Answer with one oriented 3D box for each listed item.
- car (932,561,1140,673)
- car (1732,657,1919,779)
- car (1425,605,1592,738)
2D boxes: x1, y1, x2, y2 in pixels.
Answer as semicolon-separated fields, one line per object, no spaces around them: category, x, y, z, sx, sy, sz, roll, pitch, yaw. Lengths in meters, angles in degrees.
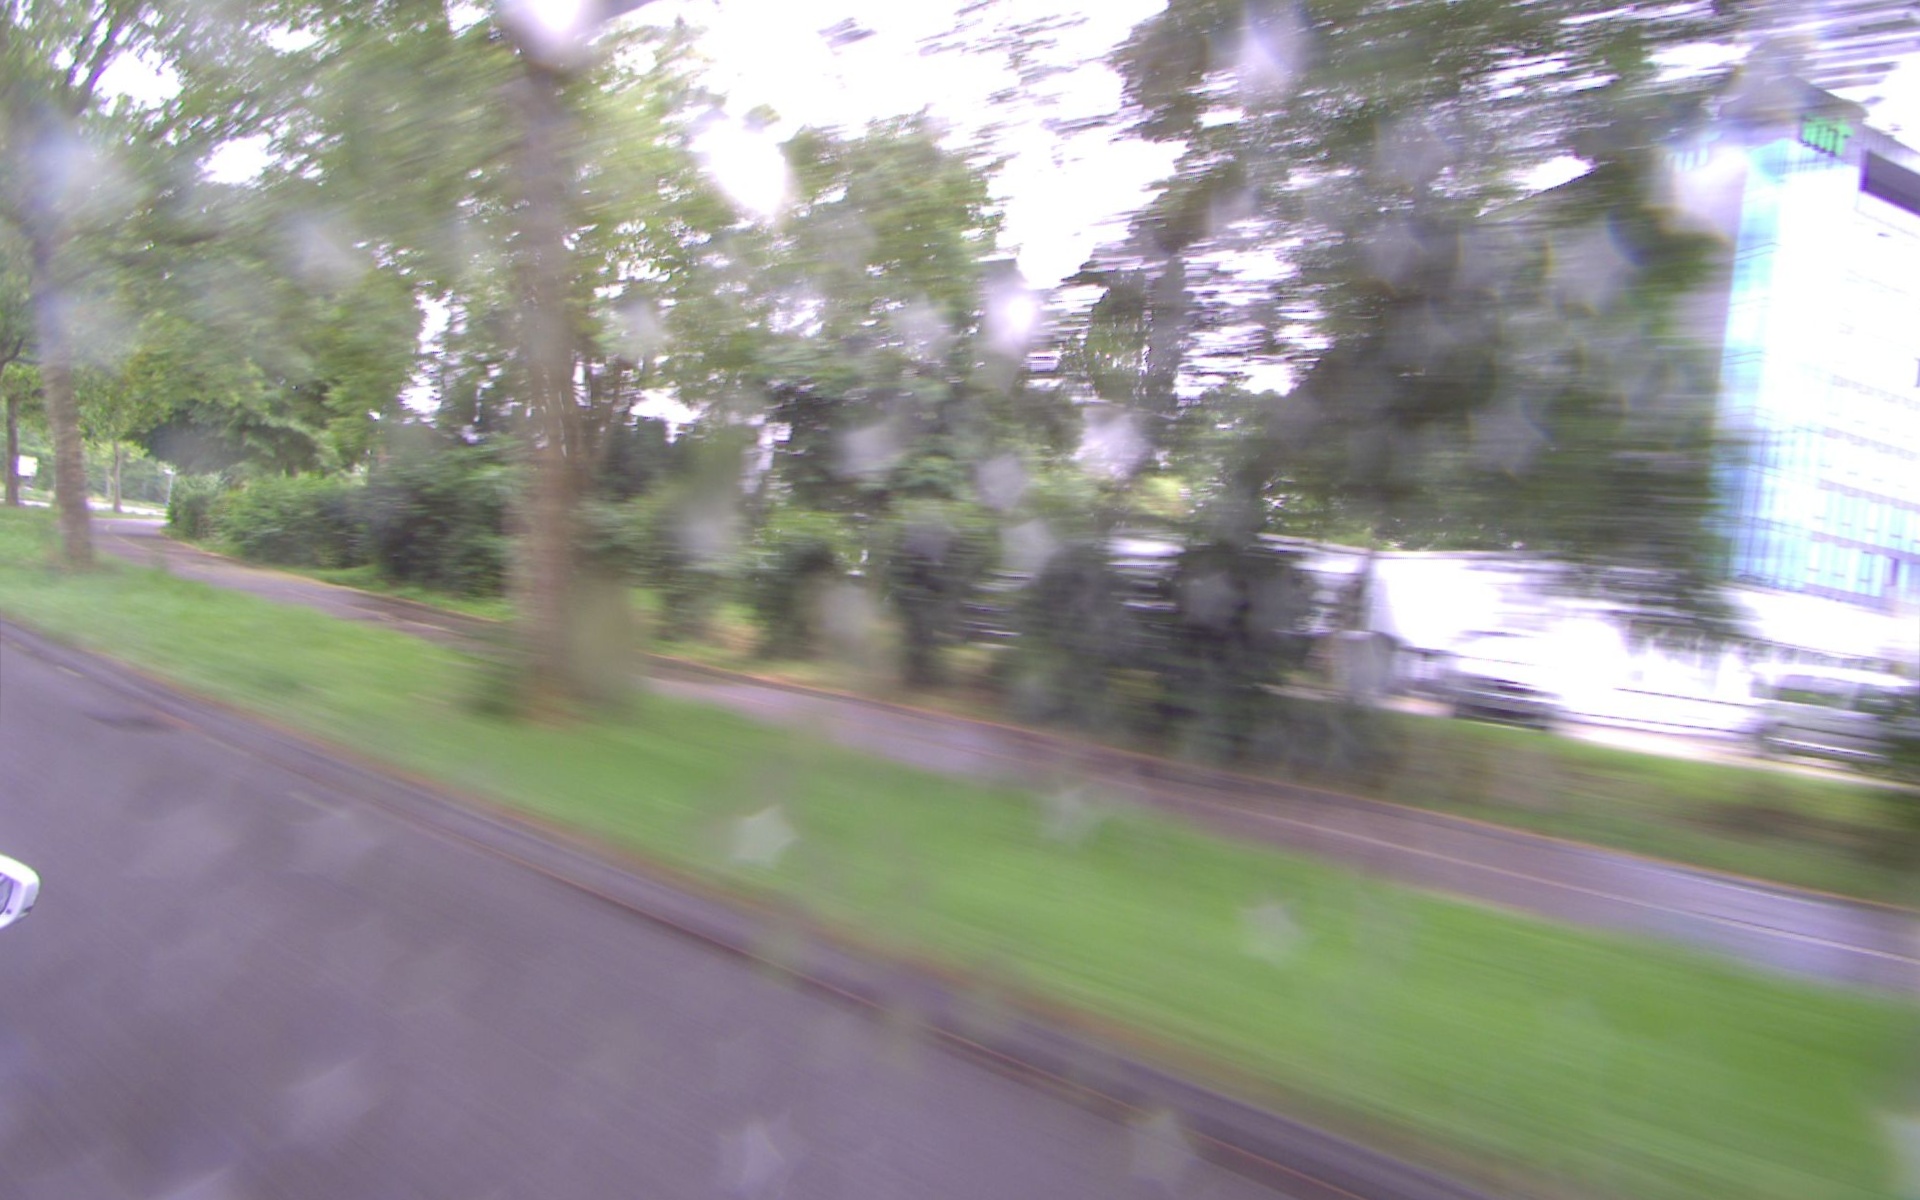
car;1.576;0.389;19.424;1.743;1.500;4.142;9;-1;41
car;16.027;2.063;17.574;1.735;1.852;4.604;8;-1;7
car;8.234;1.113;15.455;1.737;1.500;4.157;9;-1;25
